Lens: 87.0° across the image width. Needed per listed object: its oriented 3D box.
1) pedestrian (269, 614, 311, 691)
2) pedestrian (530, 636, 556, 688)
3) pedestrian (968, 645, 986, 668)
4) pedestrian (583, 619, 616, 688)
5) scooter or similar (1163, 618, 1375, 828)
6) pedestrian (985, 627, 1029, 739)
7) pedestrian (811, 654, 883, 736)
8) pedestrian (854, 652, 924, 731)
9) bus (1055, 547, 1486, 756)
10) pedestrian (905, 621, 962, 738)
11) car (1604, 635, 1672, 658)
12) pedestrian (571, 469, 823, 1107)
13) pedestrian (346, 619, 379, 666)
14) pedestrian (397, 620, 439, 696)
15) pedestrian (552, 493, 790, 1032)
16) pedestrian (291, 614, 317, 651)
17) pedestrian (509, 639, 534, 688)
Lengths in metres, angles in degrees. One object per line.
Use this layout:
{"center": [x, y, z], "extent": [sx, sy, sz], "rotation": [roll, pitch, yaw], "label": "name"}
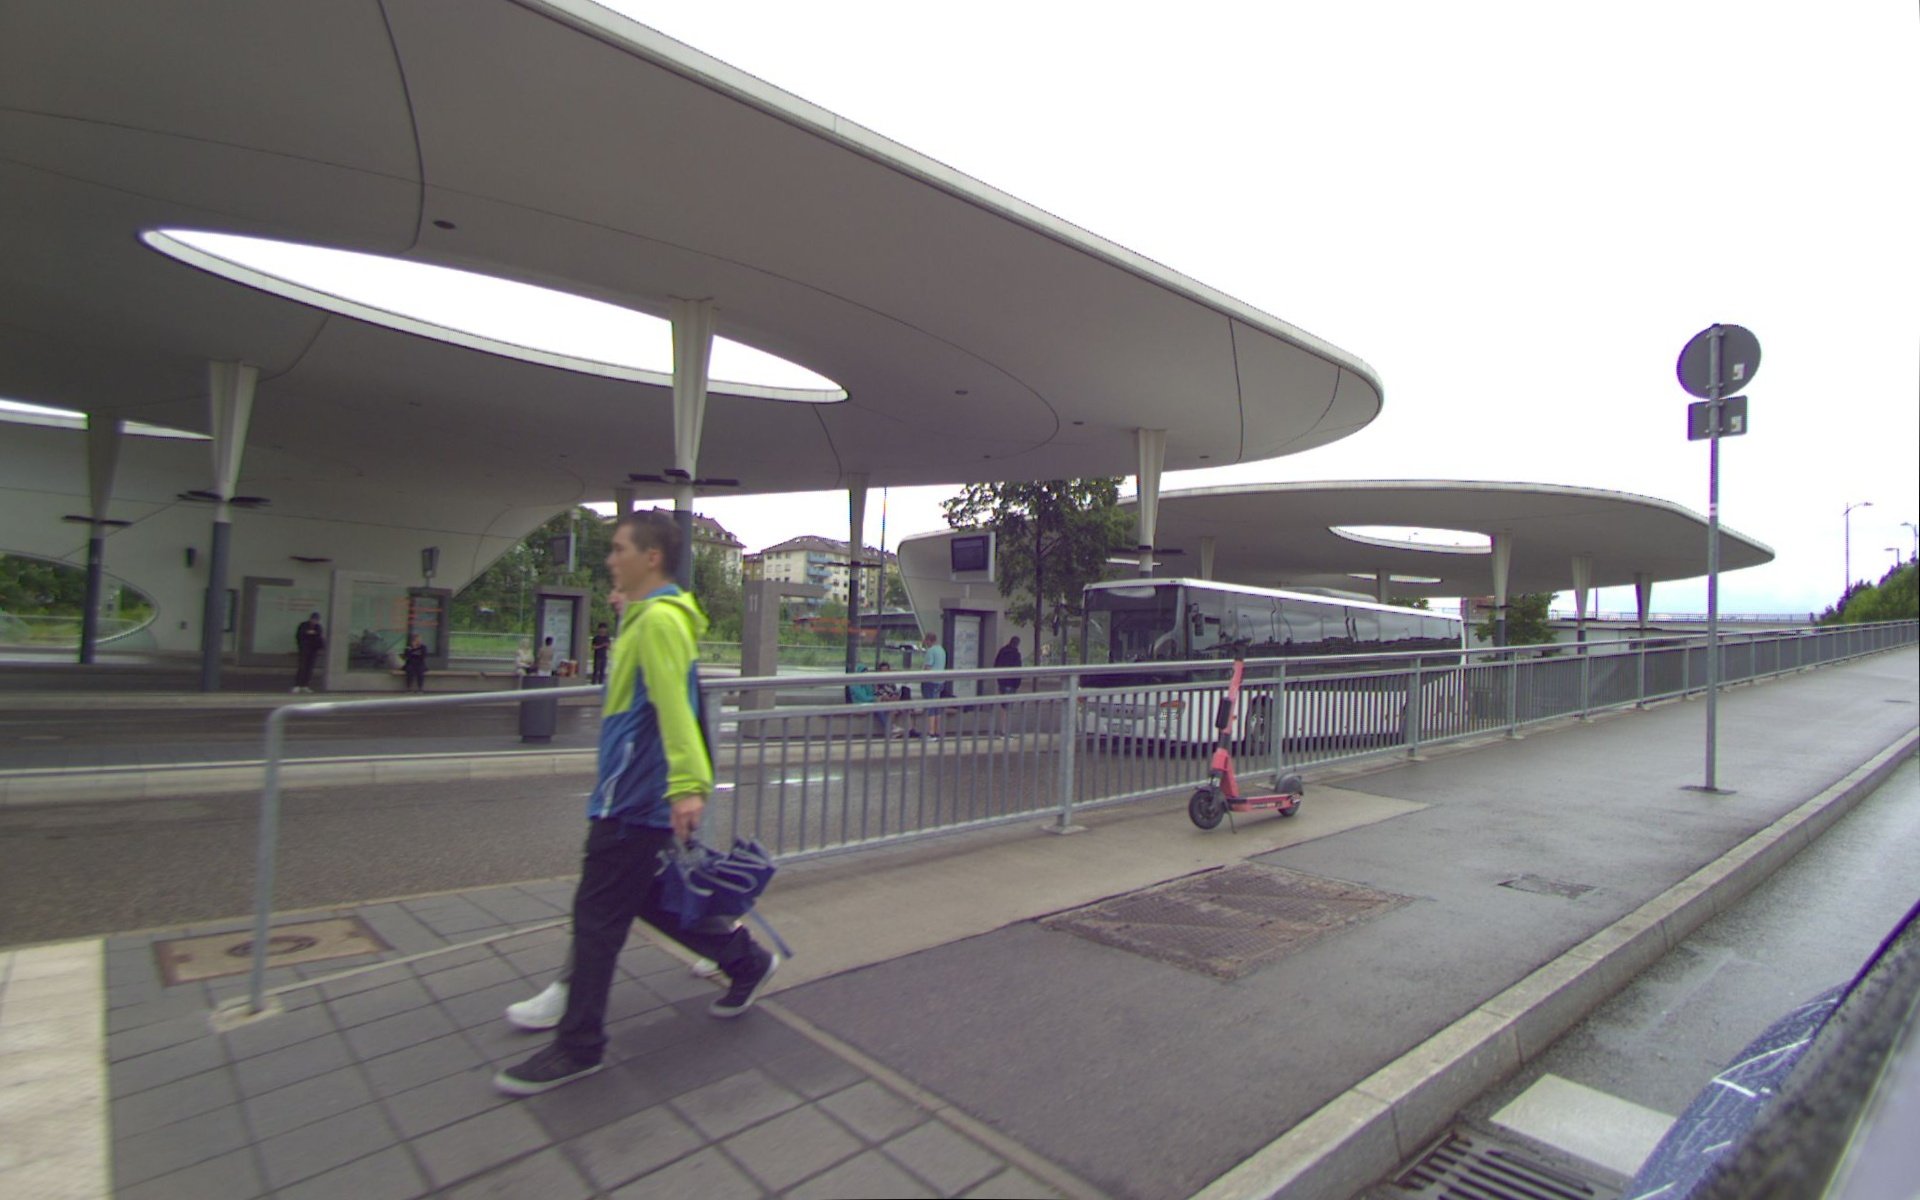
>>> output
{"center": [-13.736, 1.069, 20.750], "extent": [0.513, 1.521, 0.381], "rotation": [2, -2, 10], "label": "pedestrian"}
{"center": [-9.618, 1.428, 23.350], "extent": [0.357, 1.160, 0.395], "rotation": [3, -2, 1], "label": "pedestrian"}
{"center": [1.003, 3.395, 60.775], "extent": [0.698, 1.342, 0.801], "rotation": [0, -3, -36], "label": "pedestrian"}
{"center": [-8.891, 1.319, 24.986], "extent": [0.546, 1.676, 0.571], "rotation": [4, -2, -35], "label": "pedestrian"}
{"center": [2.120, 0.765, 6.788], "extent": [1.827, 1.237, 0.464], "rotation": [3, -2, -42], "label": "scooter or similar"}
{"center": [0.846, 1.451, 17.957], "extent": [0.639, 1.929, 0.583], "rotation": [1, -3, 14], "label": "pedestrian"}
{"center": [-1.949, 1.628, 17.506], "extent": [0.944, 1.271, 0.643], "rotation": [5, -2, 26], "label": "pedestrian"}
{"center": [-1.266, 1.617, 18.021], "extent": [0.944, 1.271, 0.643], "rotation": [5, -2, 26], "label": "pedestrian"}
{"center": [7.259, 1.335, 21.651], "extent": [12.206, 3.407, 2.848], "rotation": [6, -7, -41], "label": "bus"}
{"center": [-0.455, 1.336, 17.110], "extent": [0.636, 1.911, 0.587], "rotation": [6, -4, -31], "label": "pedestrian"}
{"center": [60.685, 4.137, 90.627], "extent": [2.079, 1.993, 4.672], "rotation": [3, -4, -43], "label": "car"}
{"center": [-0.800, 0.497, 3.078], "extent": [0.570, 1.692, 0.523], "rotation": [1, -1, -41], "label": "pedestrian"}
{"center": [-17.583, 1.252, 29.769], "extent": [0.786, 1.342, 0.711], "rotation": [-1, -3, -33], "label": "pedestrian"}
{"center": [-11.842, 1.257, 22.113], "extent": [0.667, 1.610, 0.588], "rotation": [0, -3, -45], "label": "pedestrian"}
{"center": [-1.032, 0.510, 3.595], "extent": [0.570, 1.692, 0.590], "rotation": [-1, -2, -41], "label": "pedestrian"}
{"center": [-24.739, 1.222, 38.165], "extent": [0.787, 1.342, 0.711], "rotation": [0, -3, -38], "label": "pedestrian"}
{"center": [-10.117, 1.456, 23.341], "extent": [0.345, 1.095, 0.392], "rotation": [3, -2, 0], "label": "pedestrian"}
